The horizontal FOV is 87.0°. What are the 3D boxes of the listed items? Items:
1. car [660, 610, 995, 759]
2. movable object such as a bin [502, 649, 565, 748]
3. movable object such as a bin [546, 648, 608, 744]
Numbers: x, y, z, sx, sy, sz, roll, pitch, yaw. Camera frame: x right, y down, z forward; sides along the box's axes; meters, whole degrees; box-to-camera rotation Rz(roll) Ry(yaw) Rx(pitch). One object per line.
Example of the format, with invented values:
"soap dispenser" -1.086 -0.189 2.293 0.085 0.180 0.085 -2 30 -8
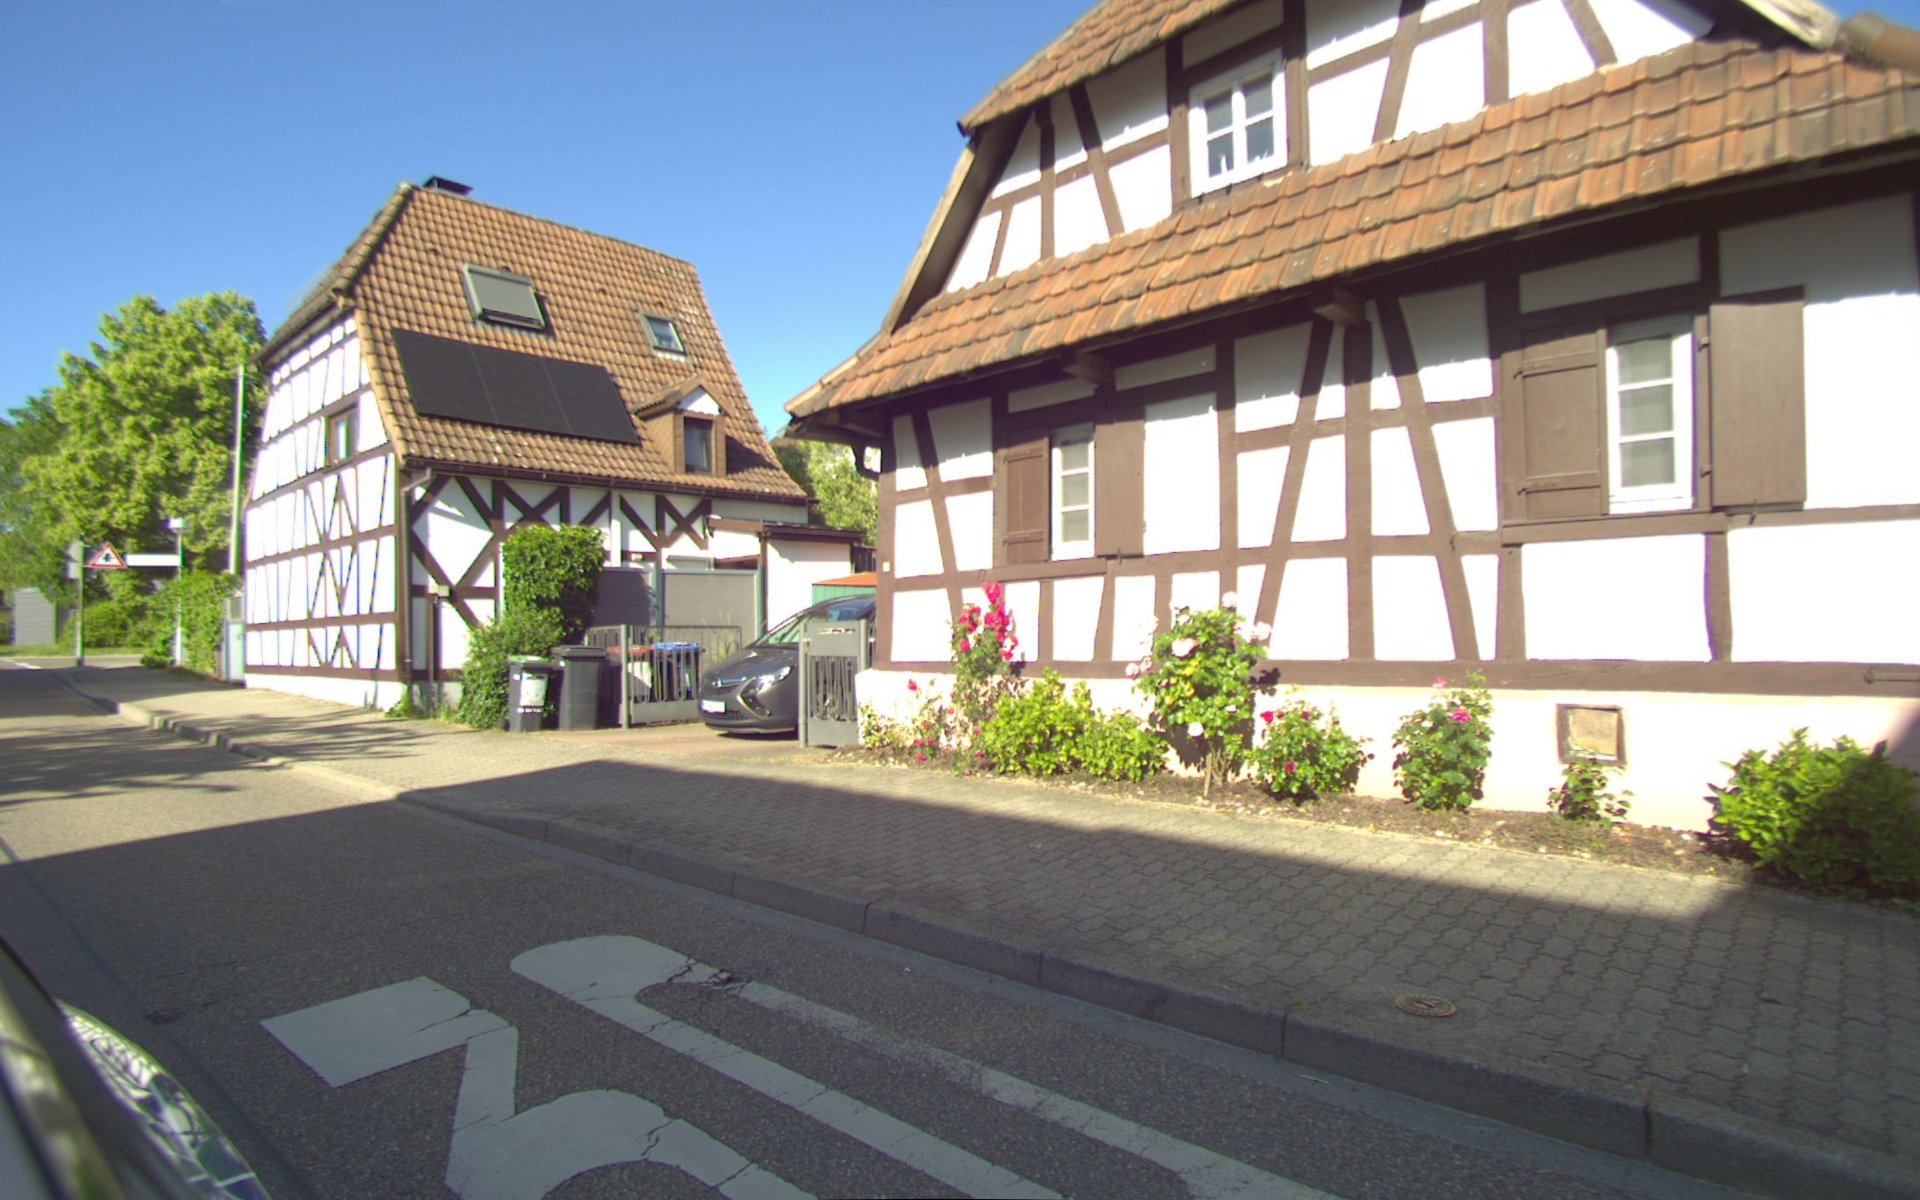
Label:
"car" -1.561 0.987 13.065 1.819 1.604 4.059 -1 -2 42
"movable object such as a bin" -5.217 1.186 12.385 0.667 1.149 0.471 -1 -2 42
"movable object such as a bin" -4.845 1.195 12.799 0.667 1.149 0.471 -1 -2 42
